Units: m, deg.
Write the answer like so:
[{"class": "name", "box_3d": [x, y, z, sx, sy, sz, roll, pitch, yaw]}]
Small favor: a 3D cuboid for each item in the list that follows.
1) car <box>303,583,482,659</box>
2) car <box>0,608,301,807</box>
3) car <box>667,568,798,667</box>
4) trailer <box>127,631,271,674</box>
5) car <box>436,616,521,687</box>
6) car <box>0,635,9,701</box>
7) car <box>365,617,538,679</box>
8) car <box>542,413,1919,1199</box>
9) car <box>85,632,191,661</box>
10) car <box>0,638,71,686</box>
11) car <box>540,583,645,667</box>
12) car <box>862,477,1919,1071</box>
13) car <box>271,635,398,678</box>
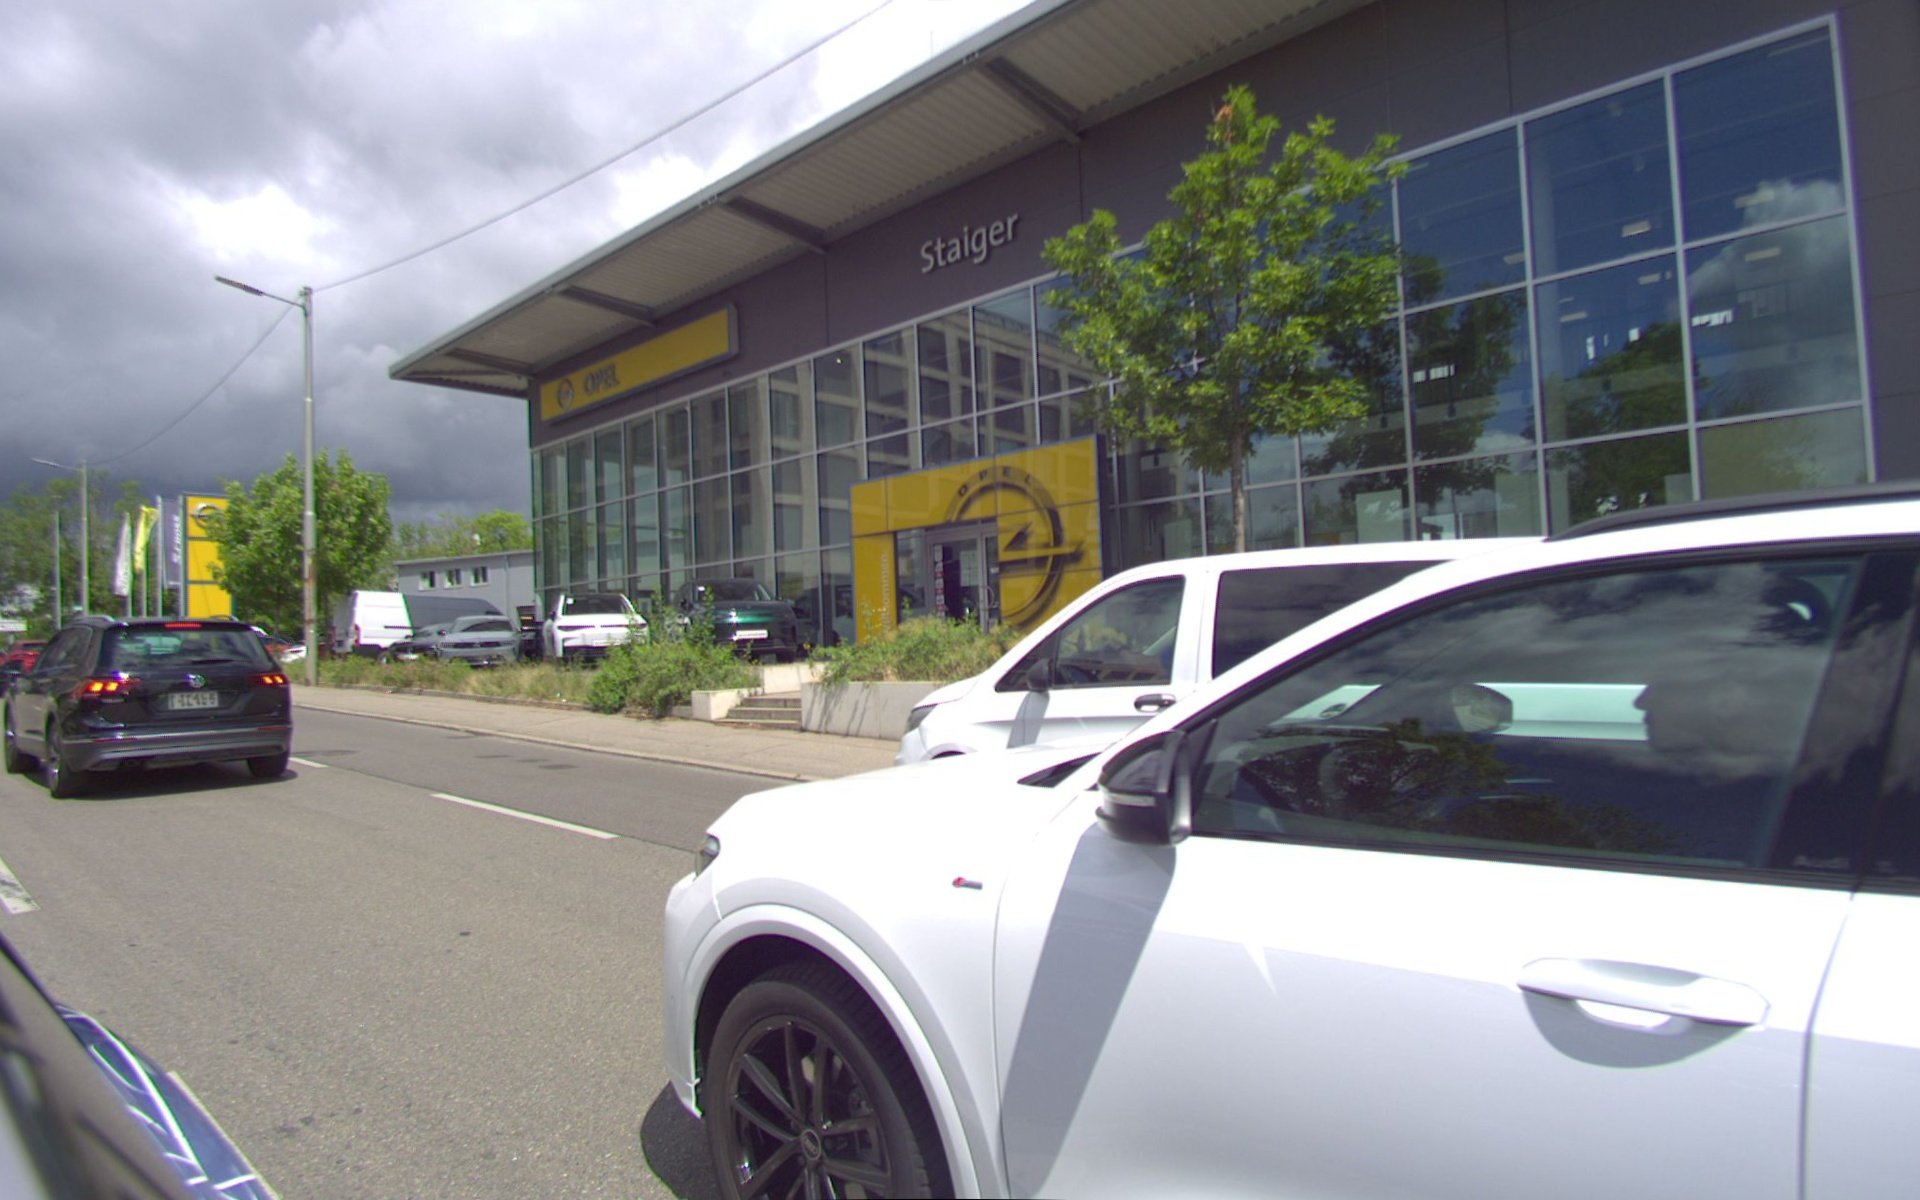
[{"class": "car", "box_3d": [-17.886, 0.660, 32.045, 2.177, 2.211, 4.475, -1, -1, 39]}, {"class": "car", "box_3d": [-8.445, 0.942, 10.313, 4.105, 1.625, 1.774, -2, -2, 40]}, {"class": "car", "box_3d": [-4.329, 0.357, 18.804, 1.790, 1.625, 4.122, 0, -2, -21]}, {"class": "trailer", "box_3d": [-33.875, 2.284, 45.179, 2.092, 1.765, 4.776, -2, -2, 37]}, {"class": "car", "box_3d": [-12.014, 1.240, 25.258, 1.767, 1.625, 4.122, 0, -2, -26]}, {"class": "car", "box_3d": [-24.066, 1.620, 24.062, 3.435, 1.515, 1.709, -2, -2, 40]}, {"class": "car", "box_3d": [-14.287, 1.315, 28.644, 1.792, 1.625, 4.064, -2, -2, 32]}, {"class": "car", "box_3d": [1.142, 0.653, 2.023, 4.413, 1.625, 1.899, -2, -2, 41]}, {"class": "car", "box_3d": [-45.493, 2.547, 56.081, 2.093, 1.493, 4.200, -2, -2, 38]}, {"class": "car", "box_3d": [-31.886, 2.083, 34.578, 3.749, 1.515, 1.709, -2, -2, 40]}, {"class": "car", "box_3d": [-7.985, 0.525, 21.776, 1.767, 1.625, 4.122, 0, -1, -25]}, {"class": "car", "box_3d": [1.969, 0.644, 5.398, 5.196, 1.874, 1.899, -2, -4, 41]}, {"class": "car", "box_3d": [-24.144, 2.138, 39.185, 1.559, 1.539, 3.897, -2, -2, 38]}]
